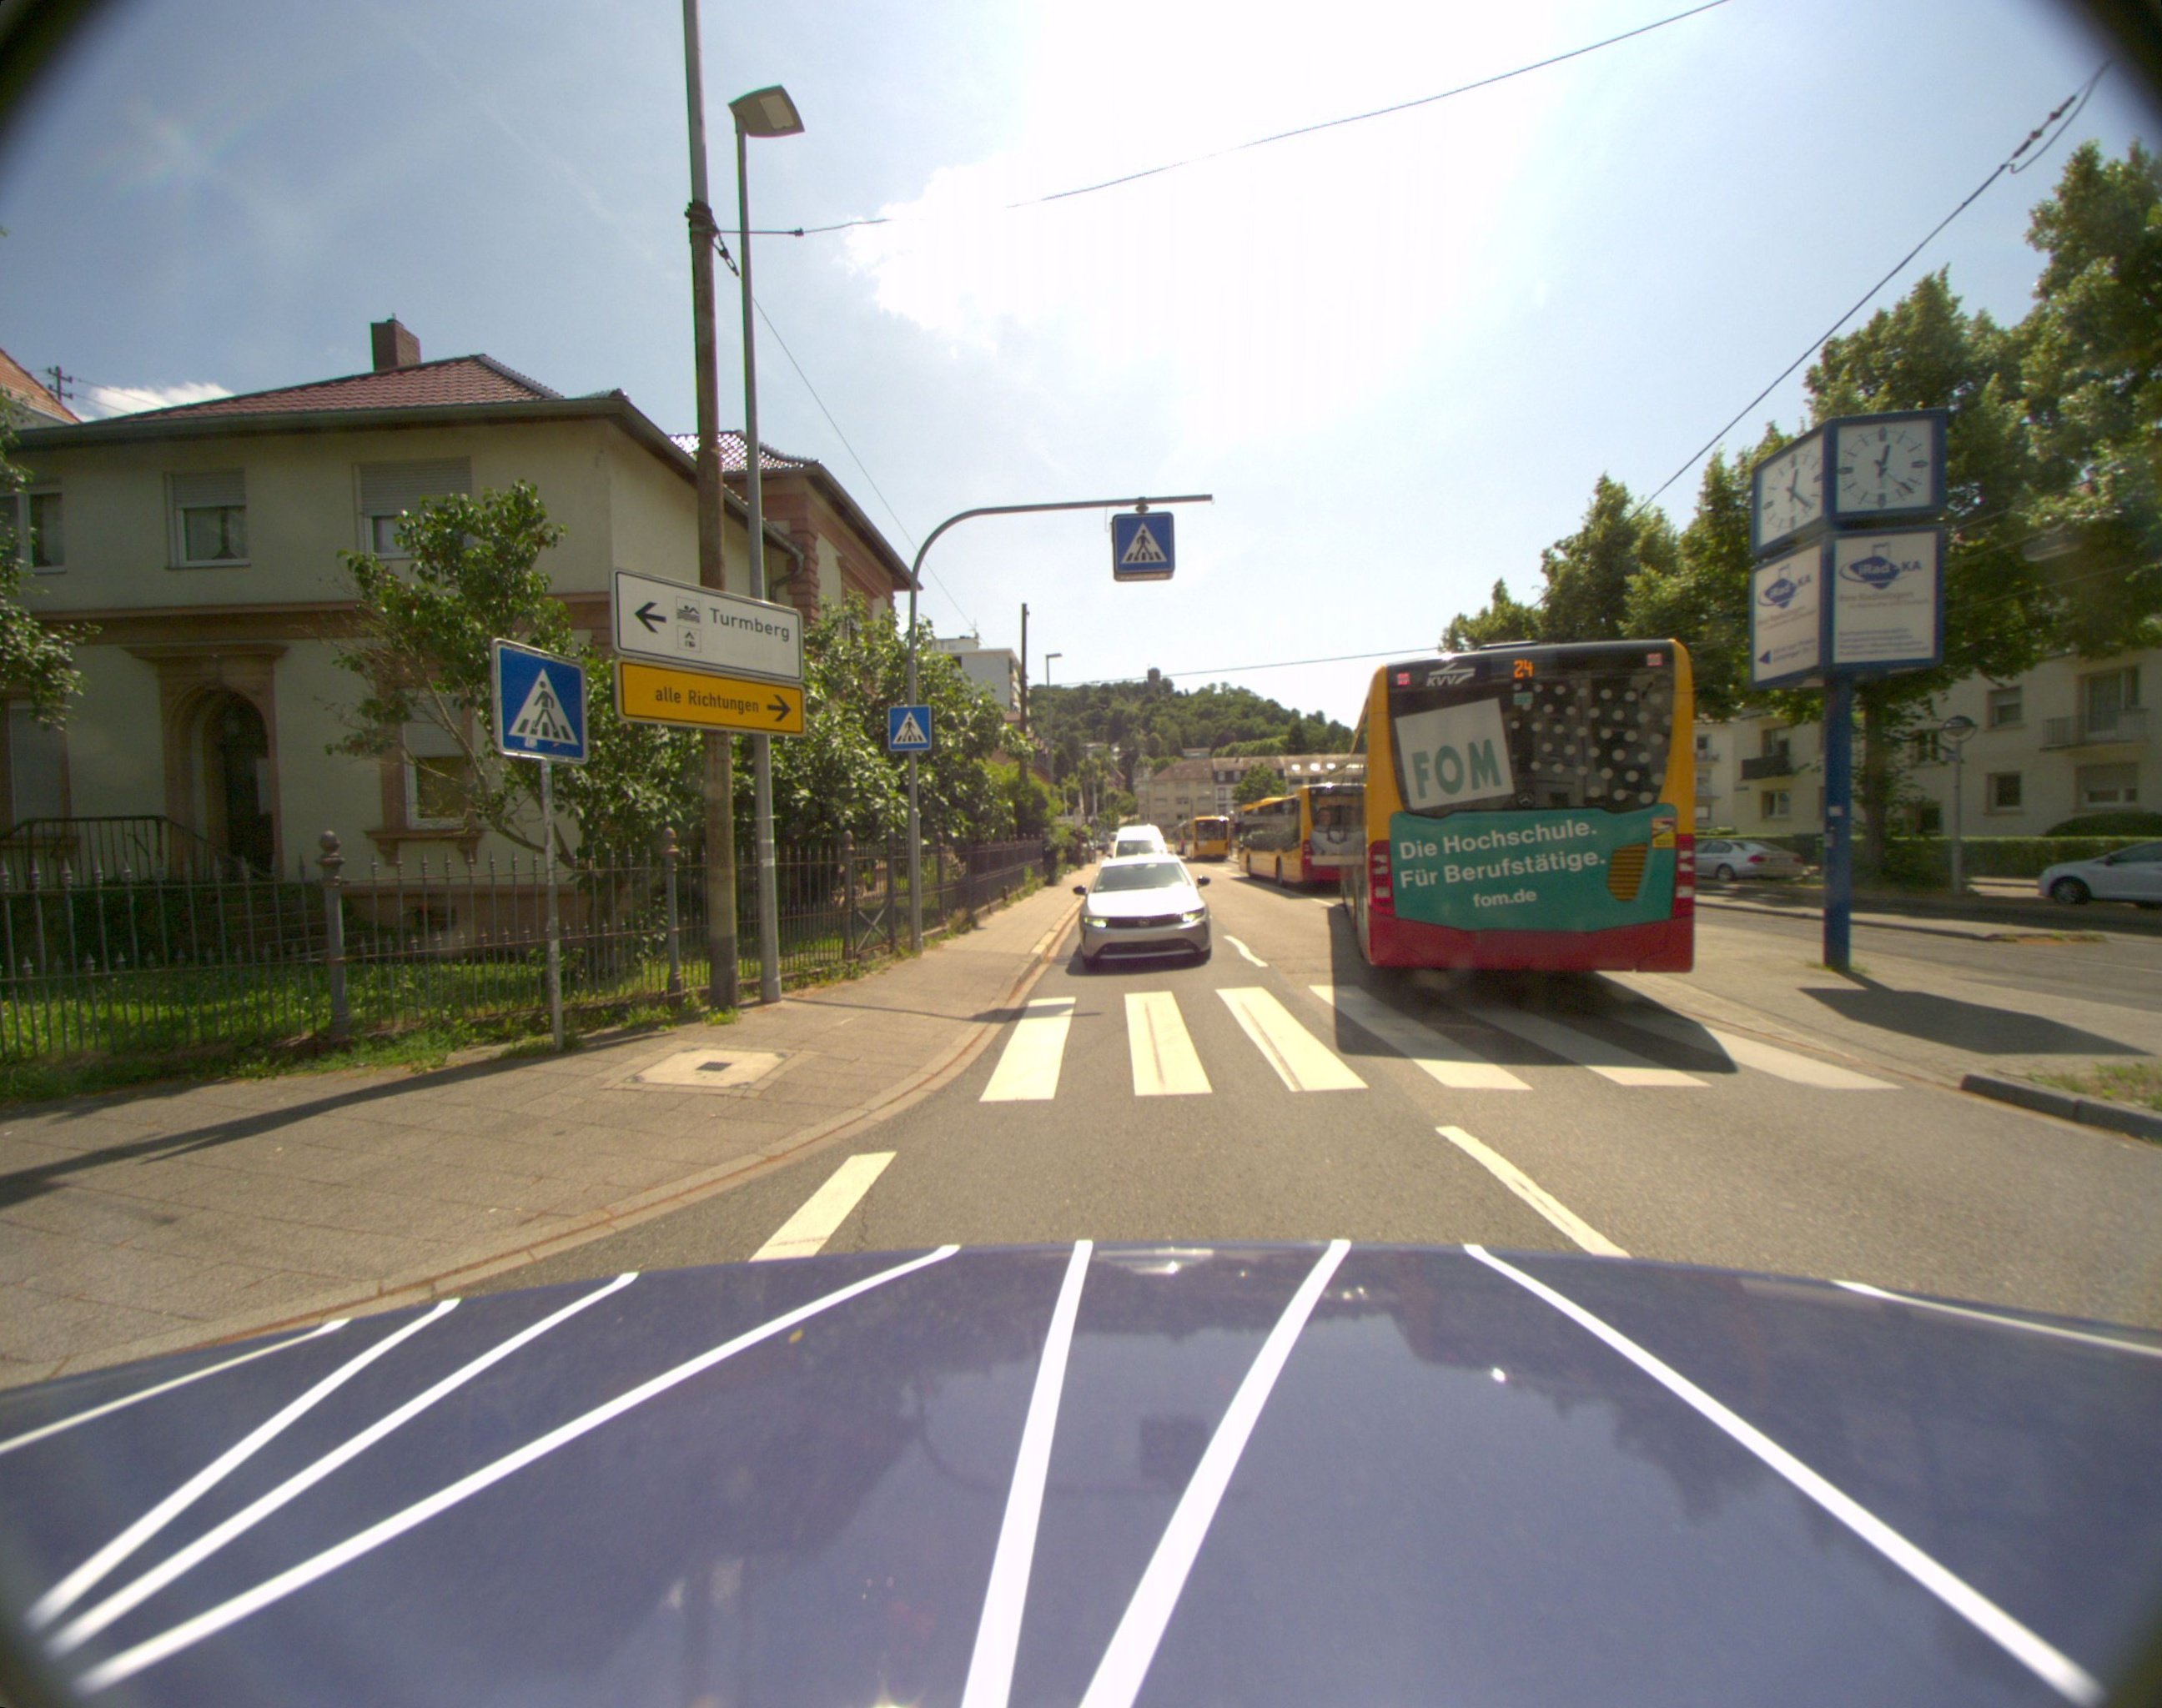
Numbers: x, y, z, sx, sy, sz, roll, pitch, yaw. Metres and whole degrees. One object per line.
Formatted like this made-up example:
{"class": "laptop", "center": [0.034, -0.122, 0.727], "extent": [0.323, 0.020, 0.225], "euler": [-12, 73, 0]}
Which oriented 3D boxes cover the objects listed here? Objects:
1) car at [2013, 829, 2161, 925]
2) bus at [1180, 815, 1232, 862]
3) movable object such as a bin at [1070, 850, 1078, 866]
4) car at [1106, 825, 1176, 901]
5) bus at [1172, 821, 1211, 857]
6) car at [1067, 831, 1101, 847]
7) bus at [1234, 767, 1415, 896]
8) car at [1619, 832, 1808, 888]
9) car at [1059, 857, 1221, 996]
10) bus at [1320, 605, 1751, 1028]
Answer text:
{"class": "car", "center": [20.286, 0.419, 13.829], "extent": [1.755, 1.609, 3.998], "euler": [-3, 3, 0]}
{"class": "bus", "center": [9.704, -1.400, 60.458], "extent": [2.904, 3.230, 12.194], "euler": [-3, 3, 5]}
{"class": "movable object such as a bin", "center": [-0.398, 0.217, 44.504], "extent": [0.407, 0.902, 0.729], "euler": [2, 3, 1]}
{"class": "car", "center": [1.974, 0.180, 26.546], "extent": [1.998, 2.259, 5.442], "euler": [-3, 3, 1]}
{"class": "bus", "center": [11.475, -1.566, 79.831], "extent": [2.914, 3.407, 12.040], "euler": [-3, 1, 4]}
{"class": "car", "center": [0.421, -1.968, 100.237], "extent": [4.277, 1.780, 1.826], "euler": [-1, 4, 43]}
{"class": "bus", "center": [7.658, -0.780, 26.127], "extent": [2.914, 3.230, 12.117], "euler": [-3, 2, 4]}
{"class": "car", "center": [20.948, 0.096, 25.616], "extent": [1.711, 1.450, 6.040], "euler": [-3, 3, 4]}
{"class": "car", "center": [0.897, 0.858, 10.958], "extent": [1.817, 1.372, 4.392], "euler": [-2, 2, 6]}
{"class": "bus", "center": [5.412, -0.355, 12.017], "extent": [2.783, 3.190, 12.319], "euler": [-3, 1, 17]}
